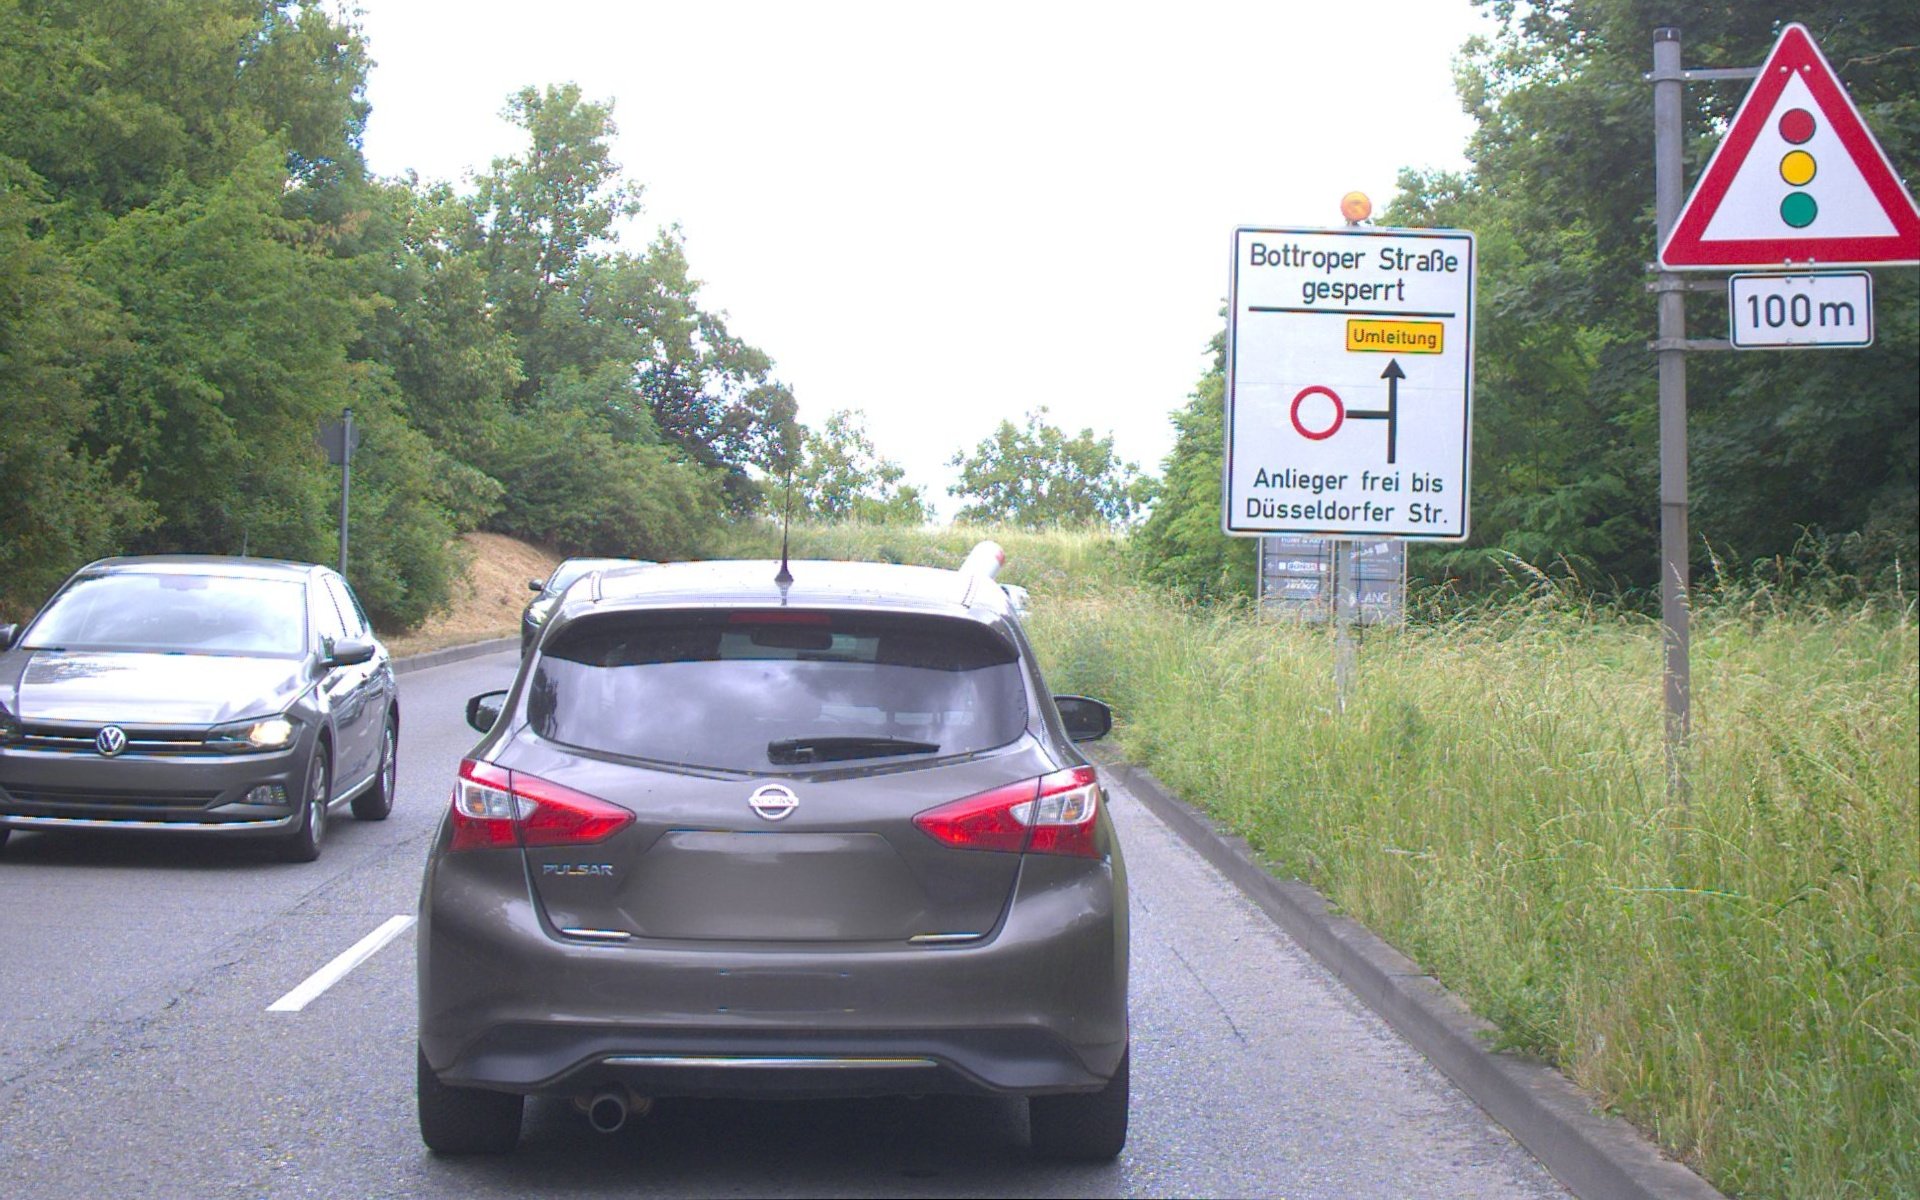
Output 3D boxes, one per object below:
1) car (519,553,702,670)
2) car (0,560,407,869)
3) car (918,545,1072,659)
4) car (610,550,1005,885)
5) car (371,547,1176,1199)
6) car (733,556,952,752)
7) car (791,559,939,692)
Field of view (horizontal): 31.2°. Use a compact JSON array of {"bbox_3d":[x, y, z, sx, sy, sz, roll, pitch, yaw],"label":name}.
[{"bbox_3d":[-4.582,0.129,45.538,1.642,1.395,3.821,3,1,5],"label":"car"},{"bbox_3d":[-3.928,0.501,17.618,1.642,1.395,3.822,0,1,-1],"label":"car"},{"bbox_3d":[0.640,0.007,59.906,1.737,1.928,3.540,0,1,17],"label":"car"},{"bbox_3d":[-0.716,0.521,17.827,1.830,1.551,3.625,0,1,0],"label":"car"},{"bbox_3d":[-0.495,0.636,9.607,1.830,1.551,3.500,0,1,-2],"label":"car"},{"bbox_3d":[-0.944,0.411,29.200,1.736,1.551,3.543,0,1,0],"label":"car"},{"bbox_3d":[-1.134,0.282,42.568,1.736,1.551,3.543,0,1,0],"label":"car"}]
